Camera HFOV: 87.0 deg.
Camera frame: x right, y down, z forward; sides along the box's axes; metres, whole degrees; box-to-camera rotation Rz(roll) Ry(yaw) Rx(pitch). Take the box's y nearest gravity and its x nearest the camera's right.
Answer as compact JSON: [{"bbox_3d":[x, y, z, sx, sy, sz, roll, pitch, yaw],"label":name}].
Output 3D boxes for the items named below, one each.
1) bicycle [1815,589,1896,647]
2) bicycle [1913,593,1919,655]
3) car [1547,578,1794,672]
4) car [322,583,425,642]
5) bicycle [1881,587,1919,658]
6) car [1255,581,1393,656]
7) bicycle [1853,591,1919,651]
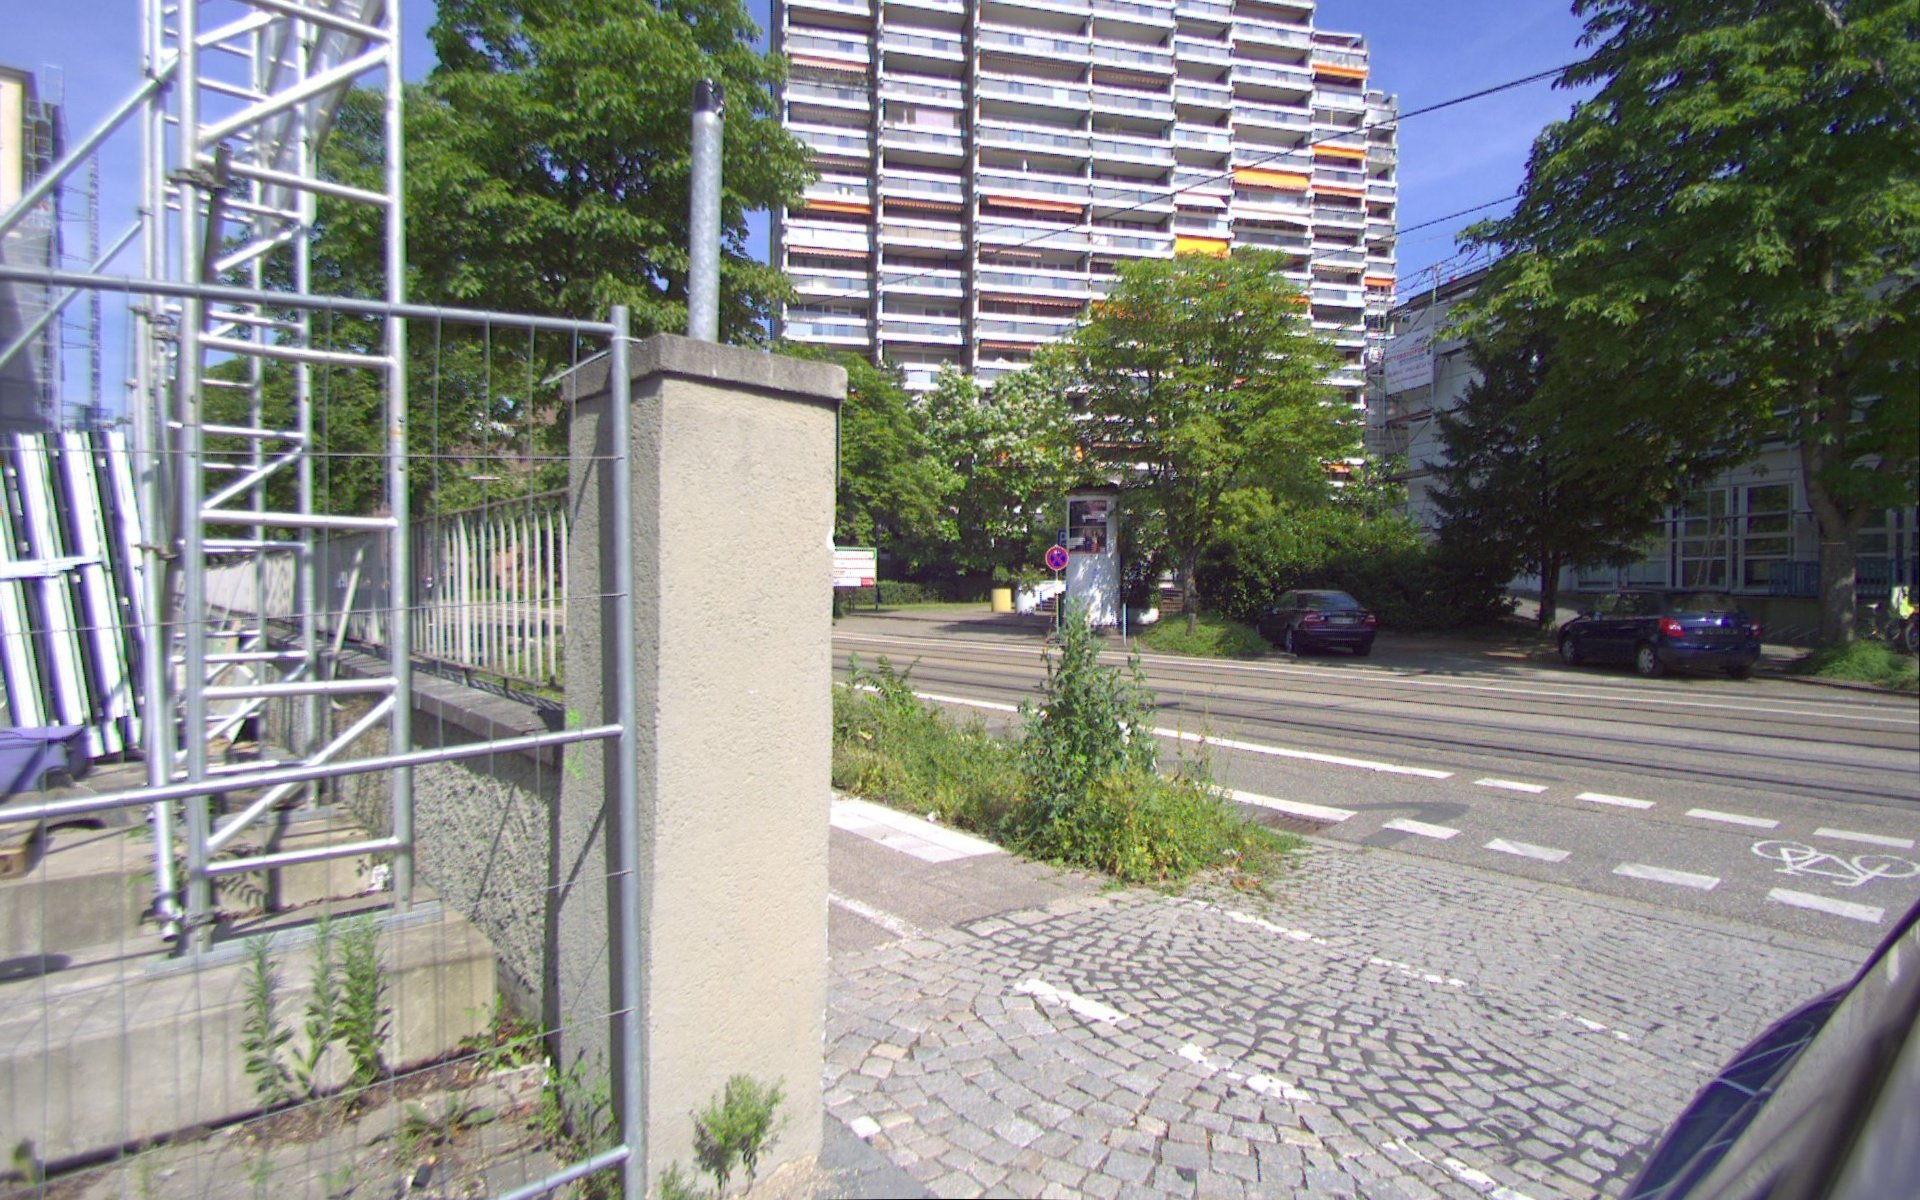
[{"bbox_3d":[19.374,0.384,21.886,1.974,1.215,0.490,0,0,-22],"label":"bicycle"},{"bbox_3d":[19.729,0.473,19.999,1.974,1.215,0.490,0,0,-21],"label":"bicycle"},{"bbox_3d":[12.352,0.367,17.945,1.771,1.467,3.980,0,1,4],"label":"car"},{"bbox_3d":[-16.501,0.286,28.378,1.963,1.498,4.353,0,1,-37],"label":"car"},{"bbox_3d":[19.531,0.438,20.477,1.974,1.395,0.490,0,0,-21],"label":"bicycle"},{"bbox_3d":[8.100,0.343,22.913,1.809,1.427,4.145,-1,2,4],"label":"car"},{"bbox_3d":[19.523,0.424,21.103,1.974,1.215,0.490,0,0,-21],"label":"bicycle"}]
